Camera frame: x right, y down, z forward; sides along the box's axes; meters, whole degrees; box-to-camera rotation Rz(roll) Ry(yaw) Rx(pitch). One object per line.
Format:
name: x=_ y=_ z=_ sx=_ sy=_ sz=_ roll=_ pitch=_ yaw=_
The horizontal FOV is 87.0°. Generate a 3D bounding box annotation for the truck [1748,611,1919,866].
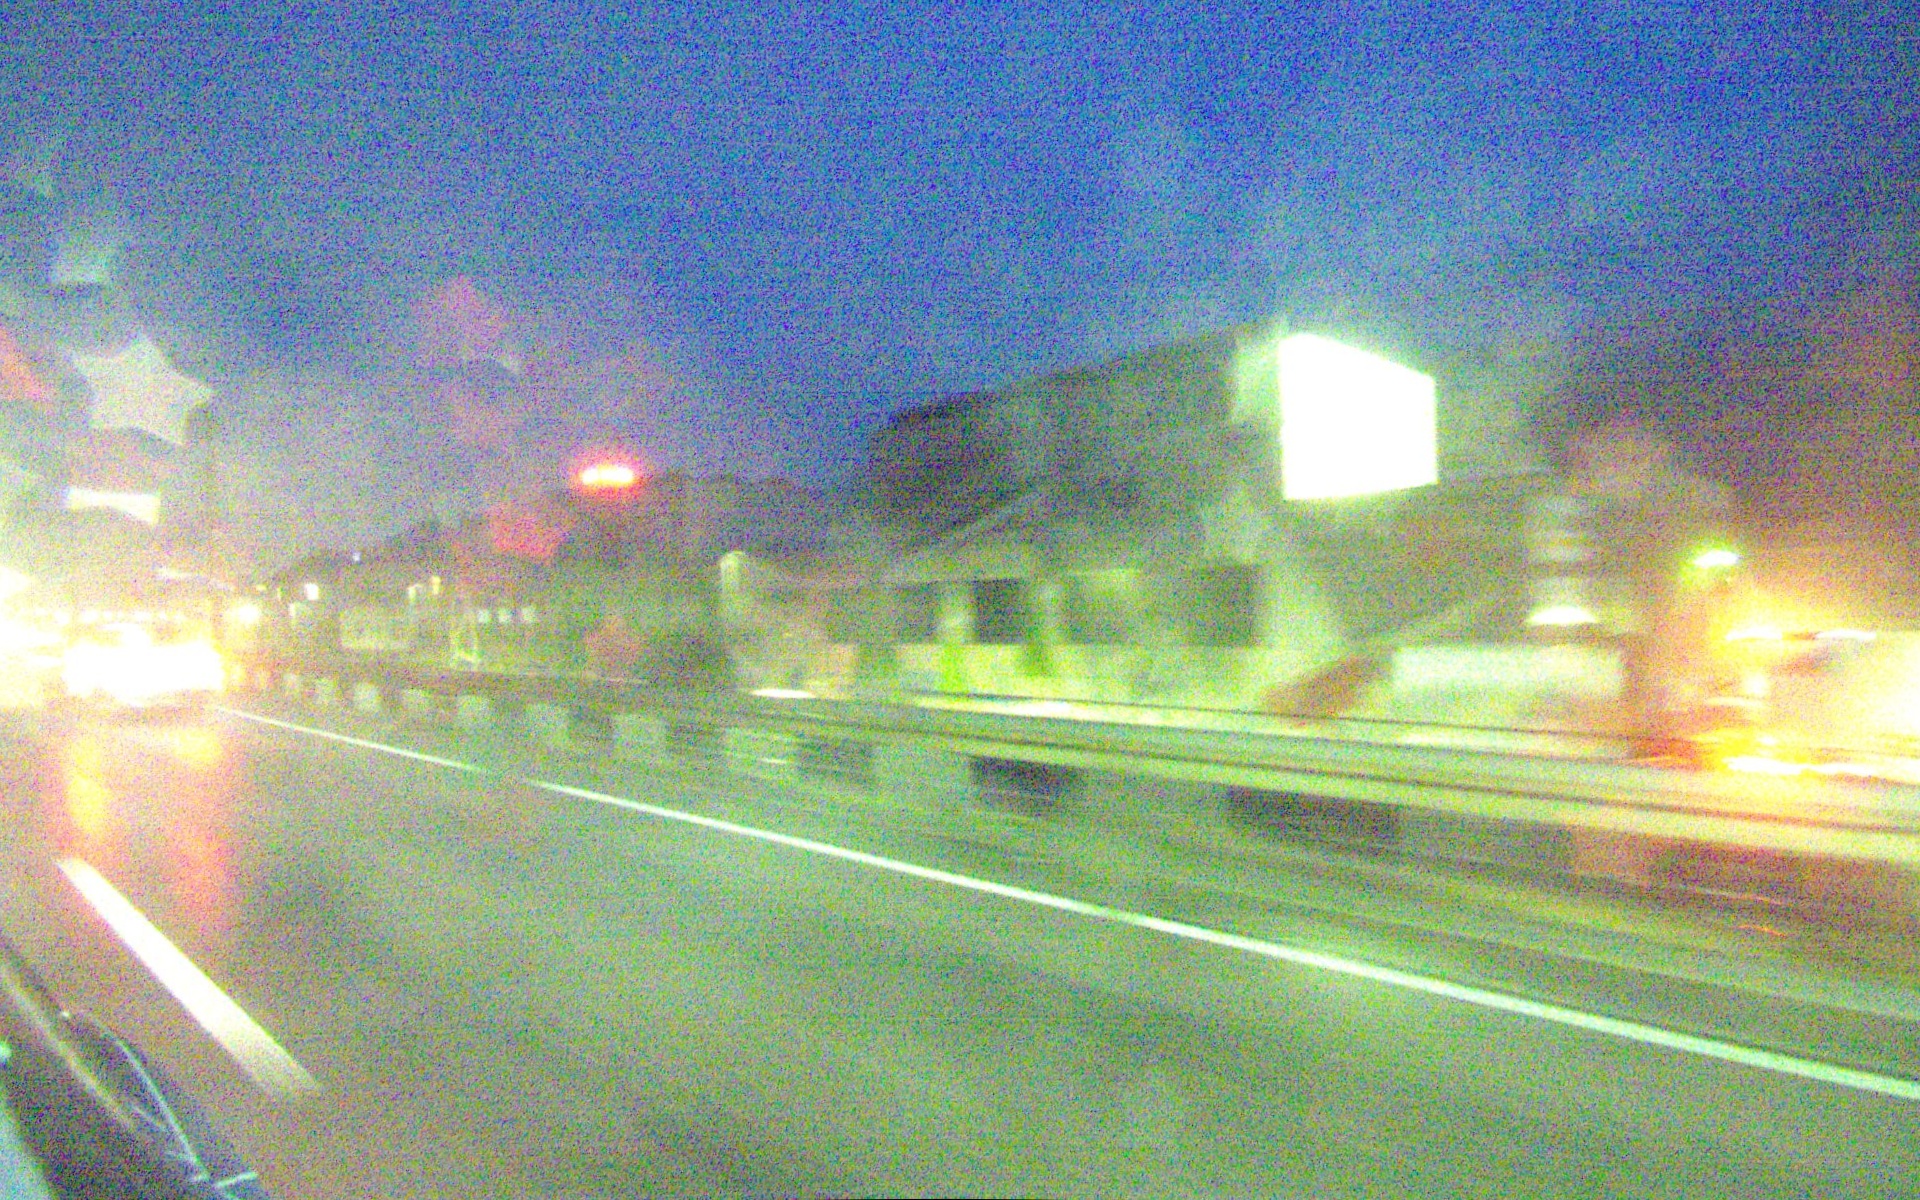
truck: x=20.196 y=2.640 z=19.367 sx=3.281 sy=4.832 sz=7.341 roll=0 pitch=-1 yaw=-30

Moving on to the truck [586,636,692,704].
truck: x=-18.618 y=3.884 z=58.326 sx=2.723 sy=3.509 sz=8.114 roll=0 pitch=-1 yaw=-42

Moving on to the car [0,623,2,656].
car: x=-42.880 y=1.709 z=43.882 sx=4.065 sy=1.428 sz=1.693 roll=-1 pitch=-1 yaw=43

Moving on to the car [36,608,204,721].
car: x=-13.047 y=0.922 z=15.642 sx=3.772 sy=1.531 sz=1.617 roll=-1 pitch=-2 yaw=45

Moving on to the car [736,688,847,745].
car: x=-6.334 y=4.269 z=37.752 sx=4.291 sy=1.688 sz=1.789 roll=-1 pitch=-1 yaw=42
